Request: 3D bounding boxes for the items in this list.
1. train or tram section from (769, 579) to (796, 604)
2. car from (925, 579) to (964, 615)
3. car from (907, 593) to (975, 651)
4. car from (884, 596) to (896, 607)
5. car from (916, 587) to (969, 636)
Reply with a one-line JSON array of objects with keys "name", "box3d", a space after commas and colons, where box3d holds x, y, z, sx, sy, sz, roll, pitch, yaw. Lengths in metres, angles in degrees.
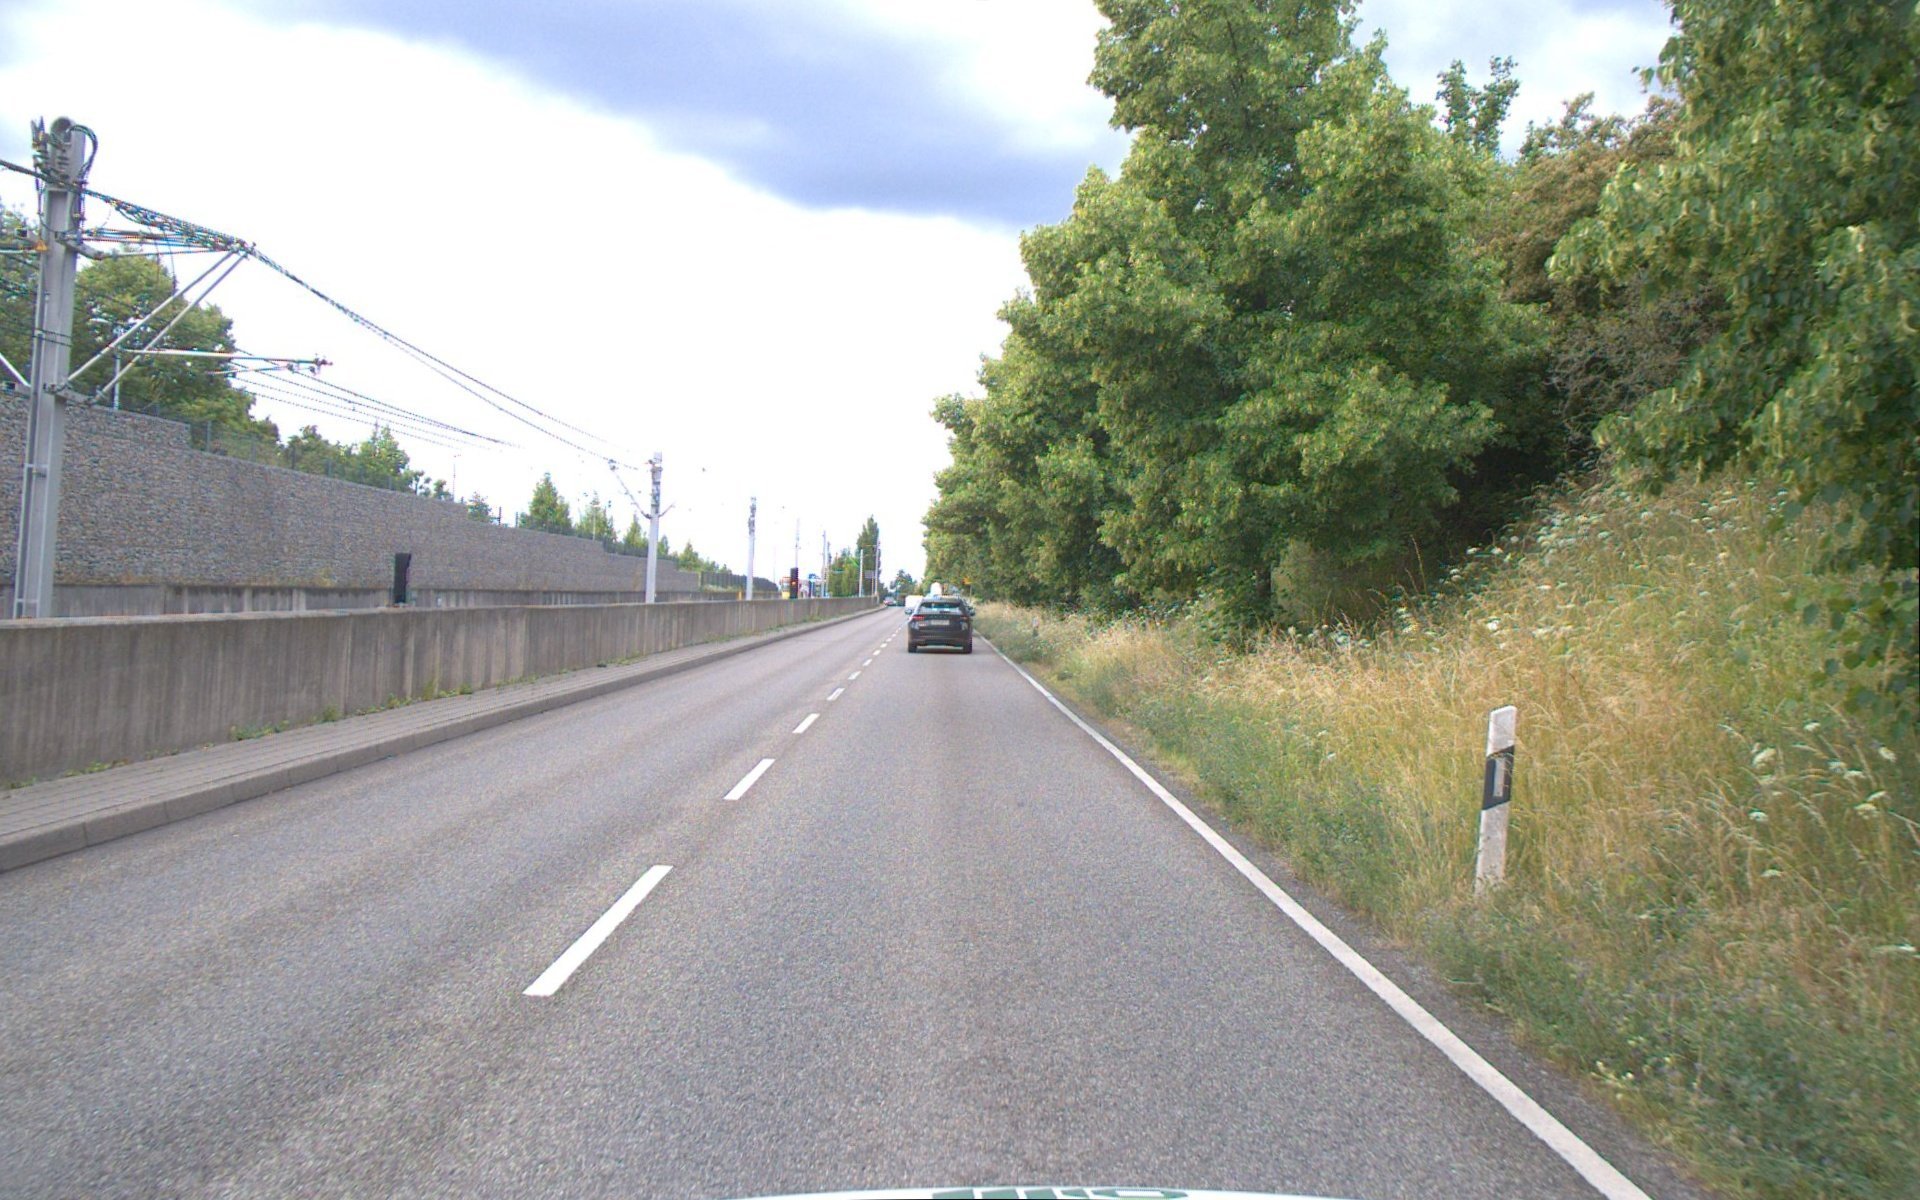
[{"name": "train or tram section", "box3d": [-25.116, -1.180, 233.336, 2.760, 3.172, 18.872, 1, -1, -9]}, {"name": "car", "box3d": [-0.820, -0.128, 84.981, 1.953, 1.771, 3.999, 1, -1, -1]}, {"name": "car", "box3d": [-0.511, 0.567, 44.918, 1.745, 1.493, 3.999, 1, 0, -1]}, {"name": "car", "box3d": [-9.919, 0.195, 235.026, 1.629, 1.572, 3.951, 1, 0, -1]}, {"name": "car", "box3d": [-0.679, 0.413, 63.089, 1.953, 1.783, 3.999, 1, 0, -1]}]
